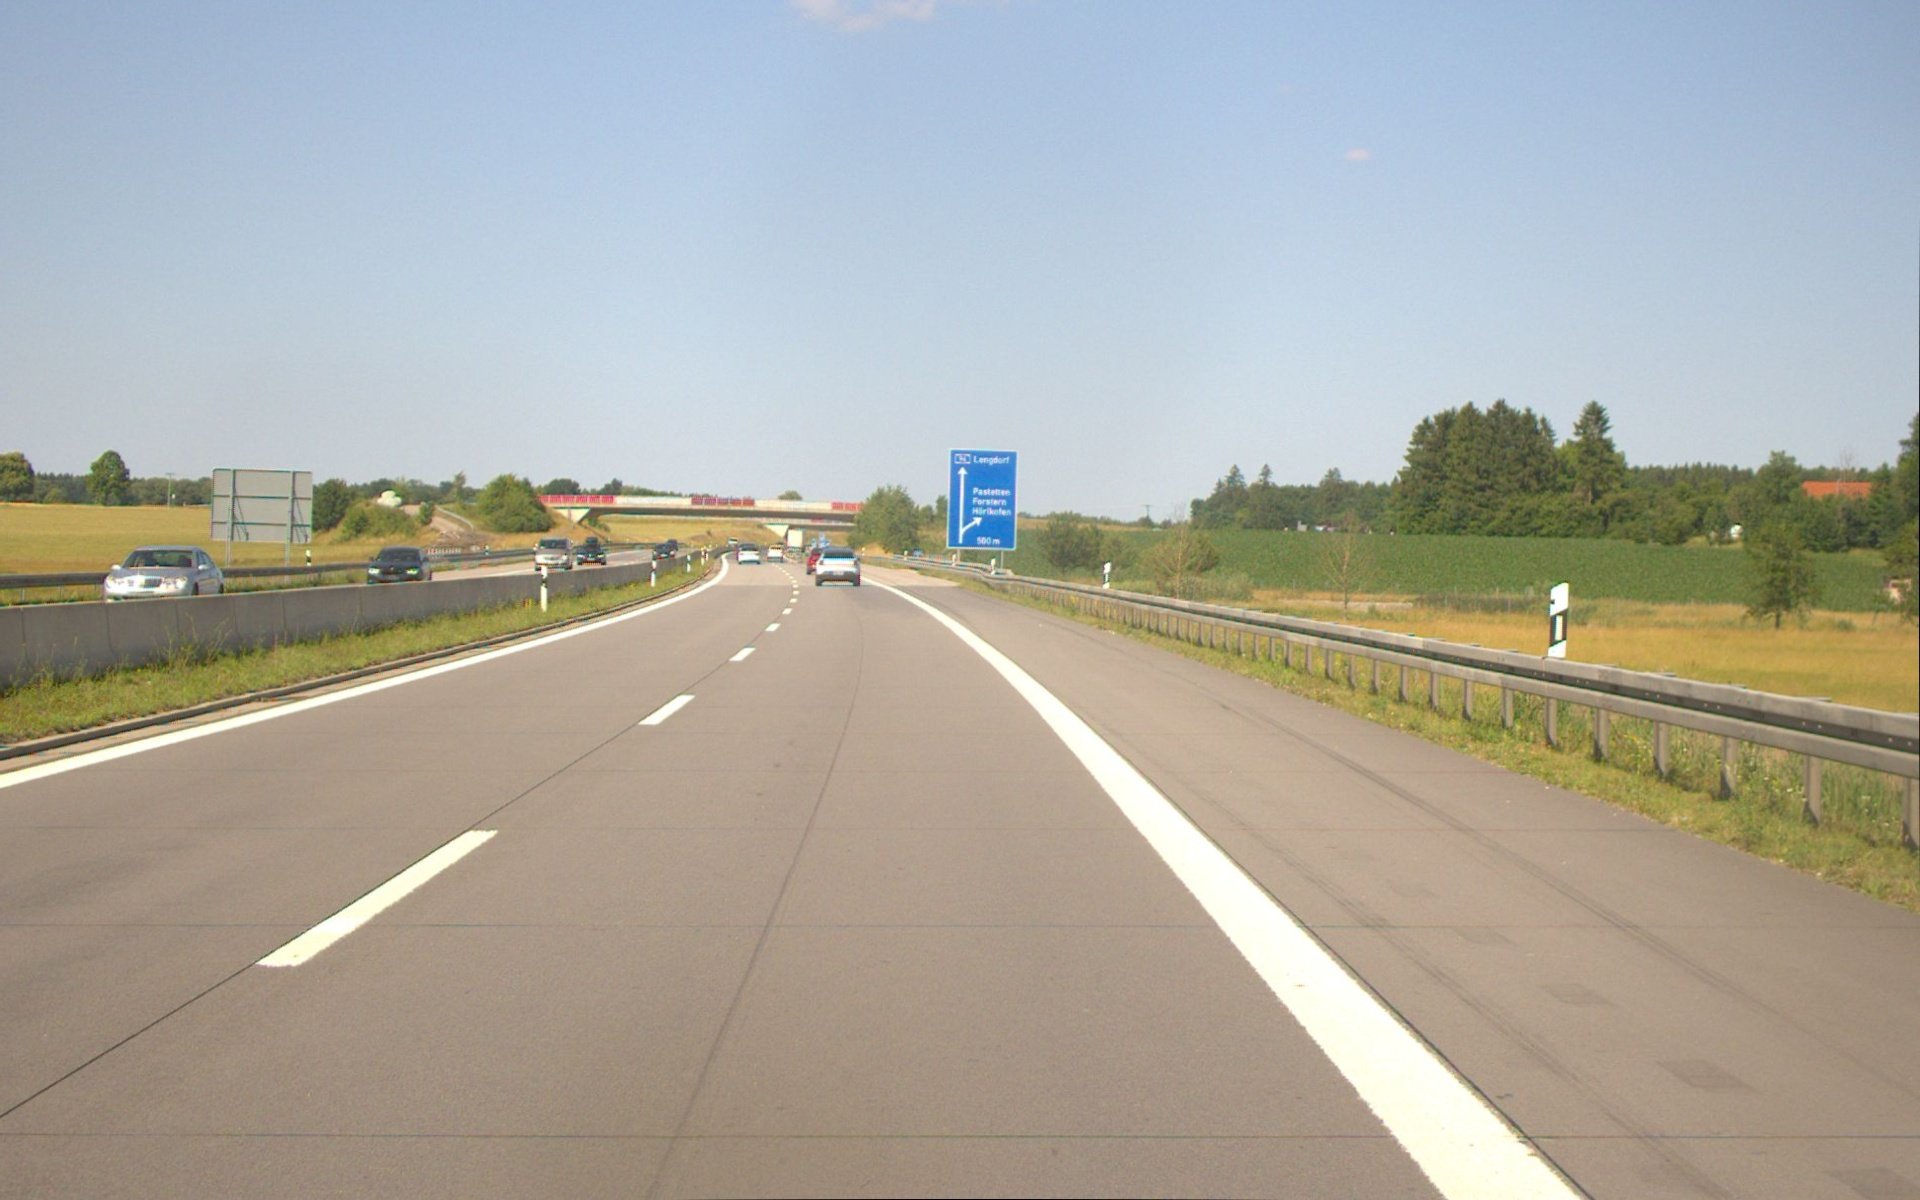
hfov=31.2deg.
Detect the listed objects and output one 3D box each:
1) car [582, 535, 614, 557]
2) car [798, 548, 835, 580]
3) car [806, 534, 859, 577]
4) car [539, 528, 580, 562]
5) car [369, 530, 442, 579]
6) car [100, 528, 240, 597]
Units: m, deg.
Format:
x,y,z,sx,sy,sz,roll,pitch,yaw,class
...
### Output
x,y,z,sx,sy,sz,roll,pitch,yaw,class
-24.785,-3.710,235.407,1.897,1.518,4.806,0,1,-3,car
-8.077,-2.056,193.641,1.993,1.725,4.870,1,1,-2,car
-5.338,-1.863,143.184,1.993,1.725,4.870,1,1,-4,car
-22.449,-3.104,192.916,1.954,1.835,5.450,0,1,-3,car
-18.213,-1.517,113.143,1.858,1.579,4.915,0,1,-3,car
-16.298,-0.796,71.149,1.822,1.360,5.296,0,1,-2,car
